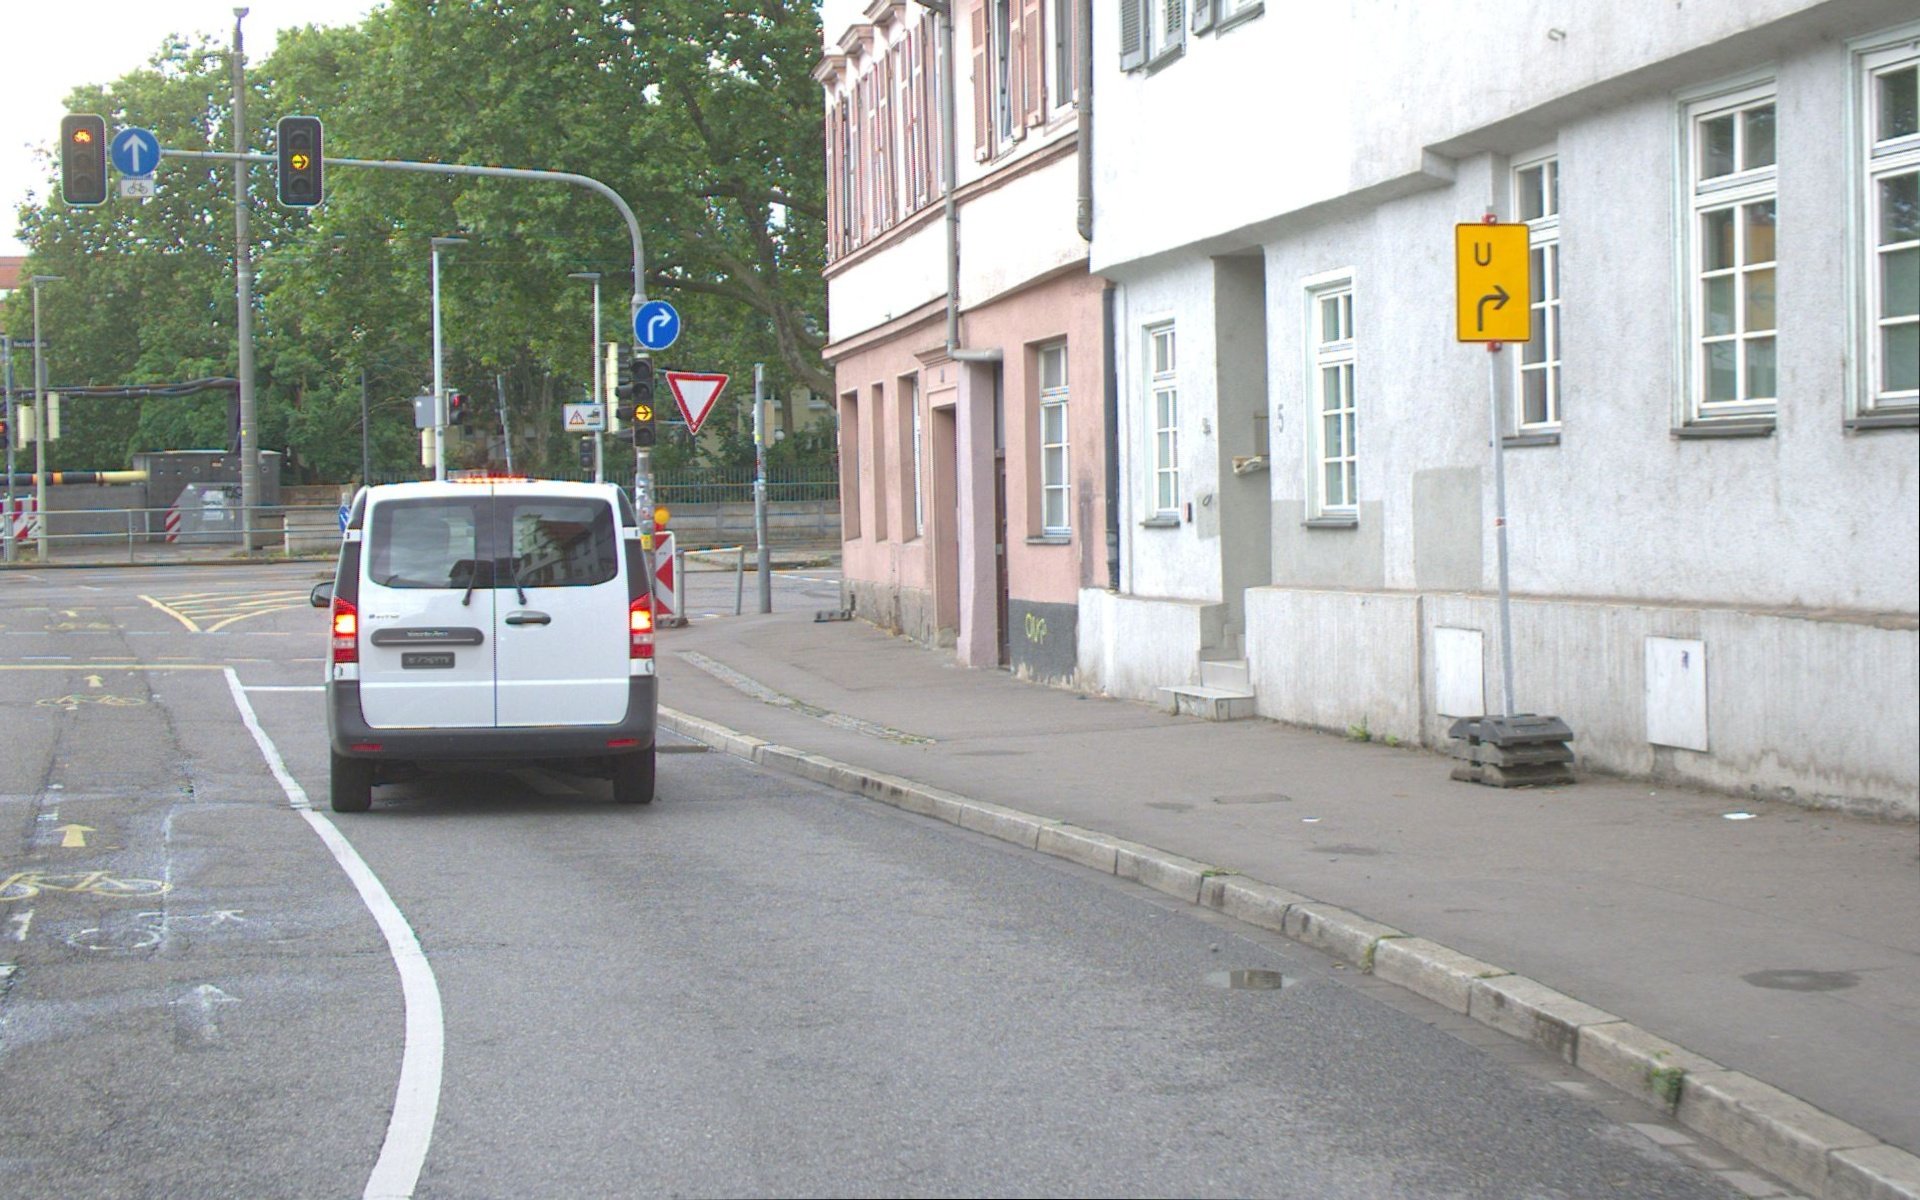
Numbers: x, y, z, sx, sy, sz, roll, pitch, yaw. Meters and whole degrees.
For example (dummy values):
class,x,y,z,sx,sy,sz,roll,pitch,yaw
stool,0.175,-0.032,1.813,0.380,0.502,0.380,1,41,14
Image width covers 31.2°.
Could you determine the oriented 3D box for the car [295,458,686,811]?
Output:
class,x,y,z,sx,sy,sz,roll,pitch,yaw
car,-2.971,0.198,20.979,1.993,1.916,4.250,0,0,-13
